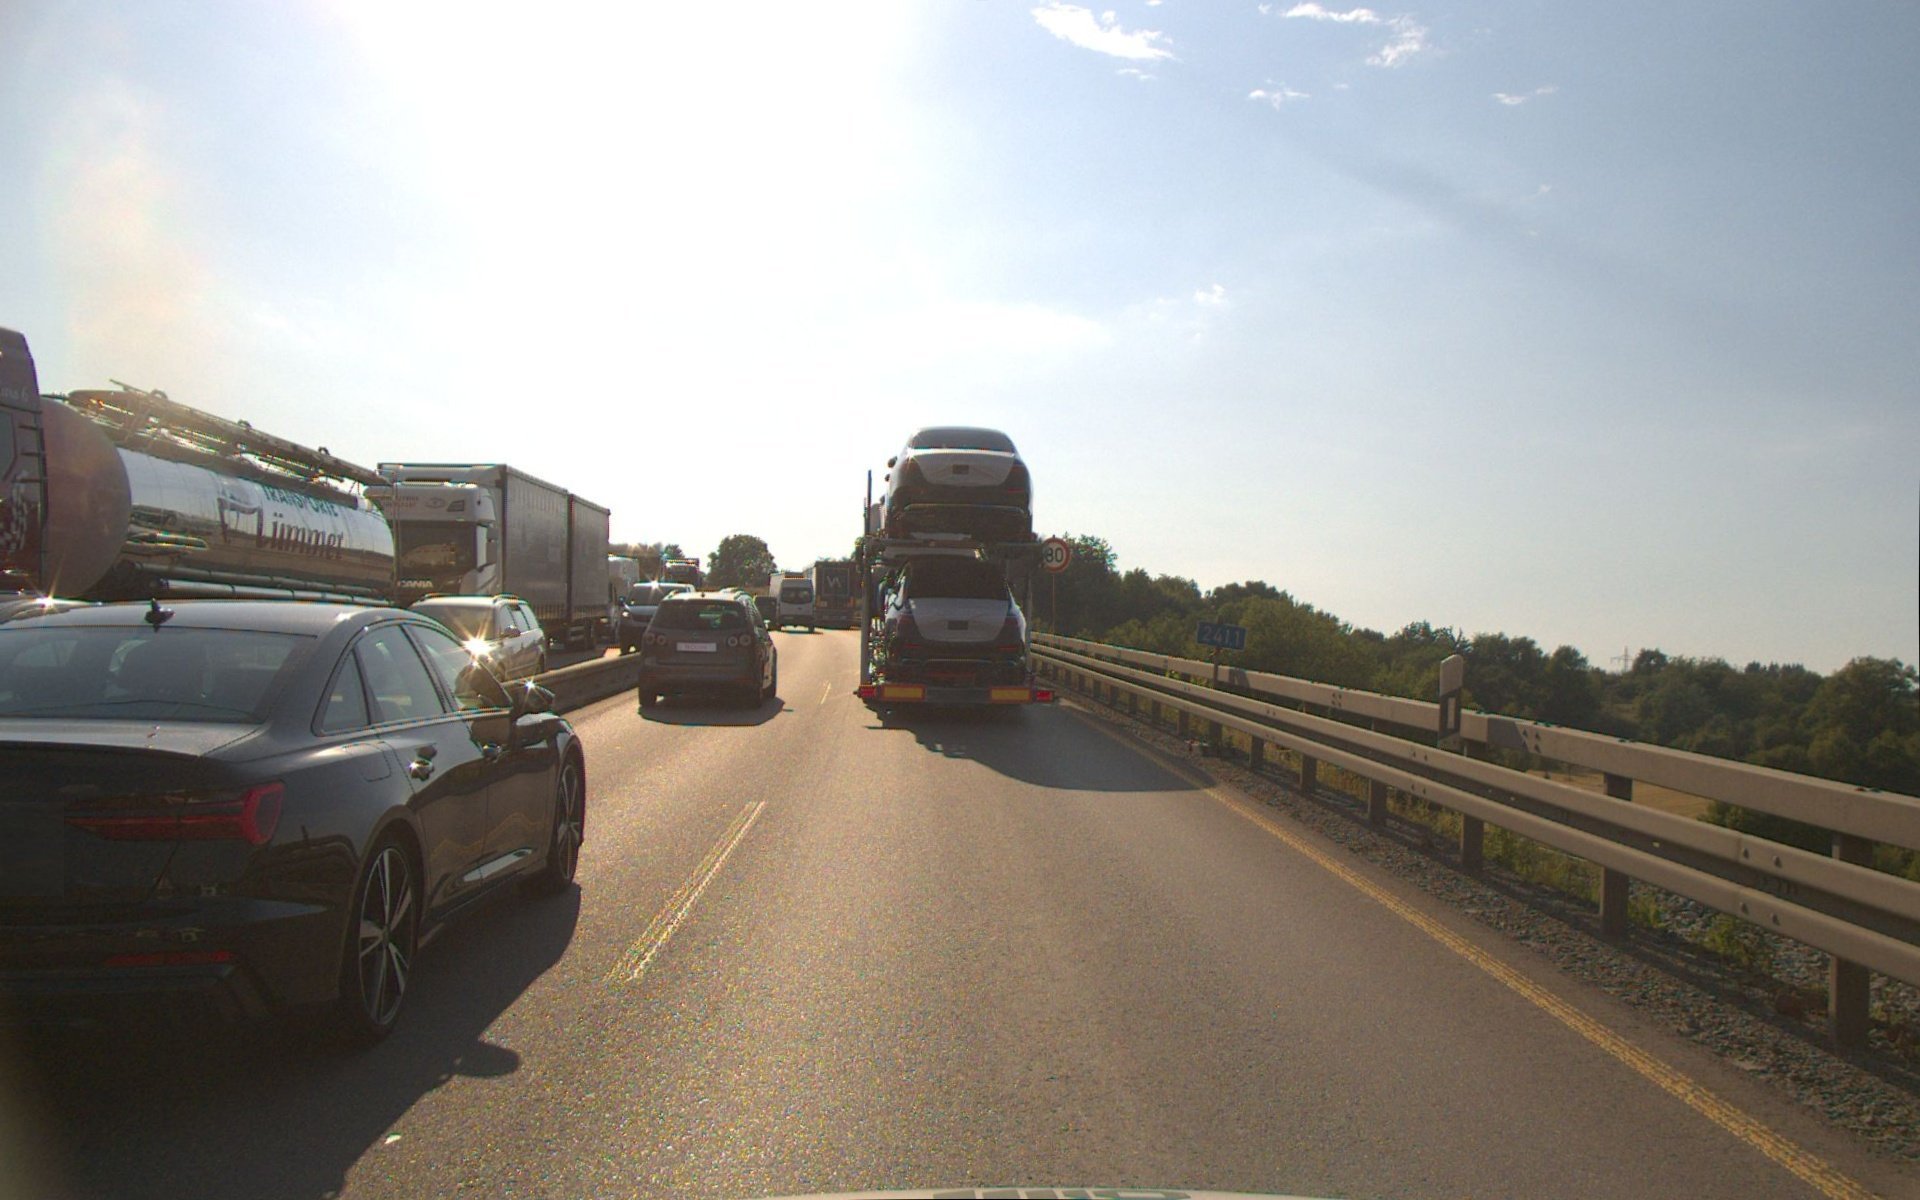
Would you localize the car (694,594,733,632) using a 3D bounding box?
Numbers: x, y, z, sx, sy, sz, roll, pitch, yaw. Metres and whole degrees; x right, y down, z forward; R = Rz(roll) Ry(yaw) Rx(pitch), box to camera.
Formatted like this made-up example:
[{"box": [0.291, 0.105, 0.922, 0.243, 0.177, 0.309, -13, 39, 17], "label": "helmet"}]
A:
[{"box": [-11.822, 0.628, 79.399, 1.723, 1.725, 4.446, 1, -1, -7], "label": "car"}]

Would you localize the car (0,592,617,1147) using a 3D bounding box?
[{"box": [-2.822, 0.698, 6.764, 1.895, 1.423, 4.959, 1, 0, -1], "label": "car"}]

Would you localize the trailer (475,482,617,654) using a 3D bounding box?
[{"box": [-11.224, -0.753, 45.549, 2.395, 4.262, 8.534, 1, -1, -5], "label": "trailer"}]

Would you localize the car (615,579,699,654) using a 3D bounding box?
[{"box": [-8.338, 0.457, 45.812, 1.781, 1.959, 4.831, 1, -1, -5], "label": "car"}]

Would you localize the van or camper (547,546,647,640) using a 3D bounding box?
[{"box": [-12.286, -0.193, 56.485, 2.361, 2.942, 7.609, 1, -1, -5], "label": "van or camper"}]

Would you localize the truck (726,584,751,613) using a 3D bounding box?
[{"box": [-24.980, -0.153, 186.720, 2.540, 3.226, 6.669, 1, -1, -5], "label": "truck"}]

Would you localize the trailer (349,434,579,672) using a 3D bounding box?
[{"box": [-10.476, -0.825, 36.146, 2.427, 4.404, 10.502, 1, -1, -4], "label": "trailer"}]

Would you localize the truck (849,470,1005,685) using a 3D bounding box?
[{"box": [-0.920, -0.368, 35.007, 2.782, 3.858, 9.978, 1, -1, -4], "label": "truck"}]

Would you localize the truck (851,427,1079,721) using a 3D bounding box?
[{"box": [-0.279, -0.264, 25.491, 2.744, 3.558, 10.596, 1, -1, -4], "label": "truck"}]

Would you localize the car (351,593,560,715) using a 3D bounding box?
[{"box": [-6.647, 0.674, 22.278, 1.595, 1.451, 4.654, 1, -1, -3], "label": "car"}]

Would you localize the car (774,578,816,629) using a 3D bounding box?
[{"box": [-8.480, 0.206, 85.510, 1.882, 2.536, 5.405, 1, -1, -3], "label": "car"}]

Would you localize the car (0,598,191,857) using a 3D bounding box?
[{"box": [-6.188, 0.706, 9.638, 1.595, 1.451, 4.384, 1, -1, -4], "label": "car"}]

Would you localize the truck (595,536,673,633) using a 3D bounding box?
[{"box": [-13.483, -0.579, 68.823, 2.551, 3.820, 6.508, 1, -1, -6], "label": "truck"}]

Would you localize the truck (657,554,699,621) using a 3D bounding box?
[{"box": [-17.936, -0.739, 105.491, 2.456, 4.137, 5.654, 1, -1, -8], "label": "truck"}]

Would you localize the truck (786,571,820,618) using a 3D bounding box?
[{"box": [-12.911, -0.402, 136.376, 2.481, 3.712, 8.898, 1, -1, -4], "label": "truck"}]

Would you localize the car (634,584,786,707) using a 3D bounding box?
[{"box": [-3.541, 0.622, 24.058, 1.657, 1.624, 3.999, 1, -1, -1], "label": "car"}]

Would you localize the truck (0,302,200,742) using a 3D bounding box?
[{"box": [-9.680, -0.680, 15.859, 2.384, 3.851, 5.613, 1, -1, -3], "label": "truck"}]

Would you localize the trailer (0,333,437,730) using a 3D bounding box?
[{"box": [-9.857, -0.624, 22.065, 2.260, 3.856, 12.047, 1, -1, -2], "label": "trailer"}]

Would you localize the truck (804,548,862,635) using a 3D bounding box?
[{"box": [-8.252, -0.481, 106.280, 3.223, 5.328, 9.920, 1, -1, -7], "label": "truck"}]

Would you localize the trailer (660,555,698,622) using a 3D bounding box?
[{"box": [-19.098, -0.675, 112.887, 2.264, 4.203, 14.570, 1, -1, -9], "label": "trailer"}]

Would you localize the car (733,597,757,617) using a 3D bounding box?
[{"box": [-19.133, 0.634, 147.205, 1.790, 1.803, 3.997, 1, -1, -3], "label": "car"}]

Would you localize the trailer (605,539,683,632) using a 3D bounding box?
[{"box": [-14.129, -0.547, 74.822, 2.472, 3.790, 13.955, 1, -1, -7], "label": "trailer"}]
